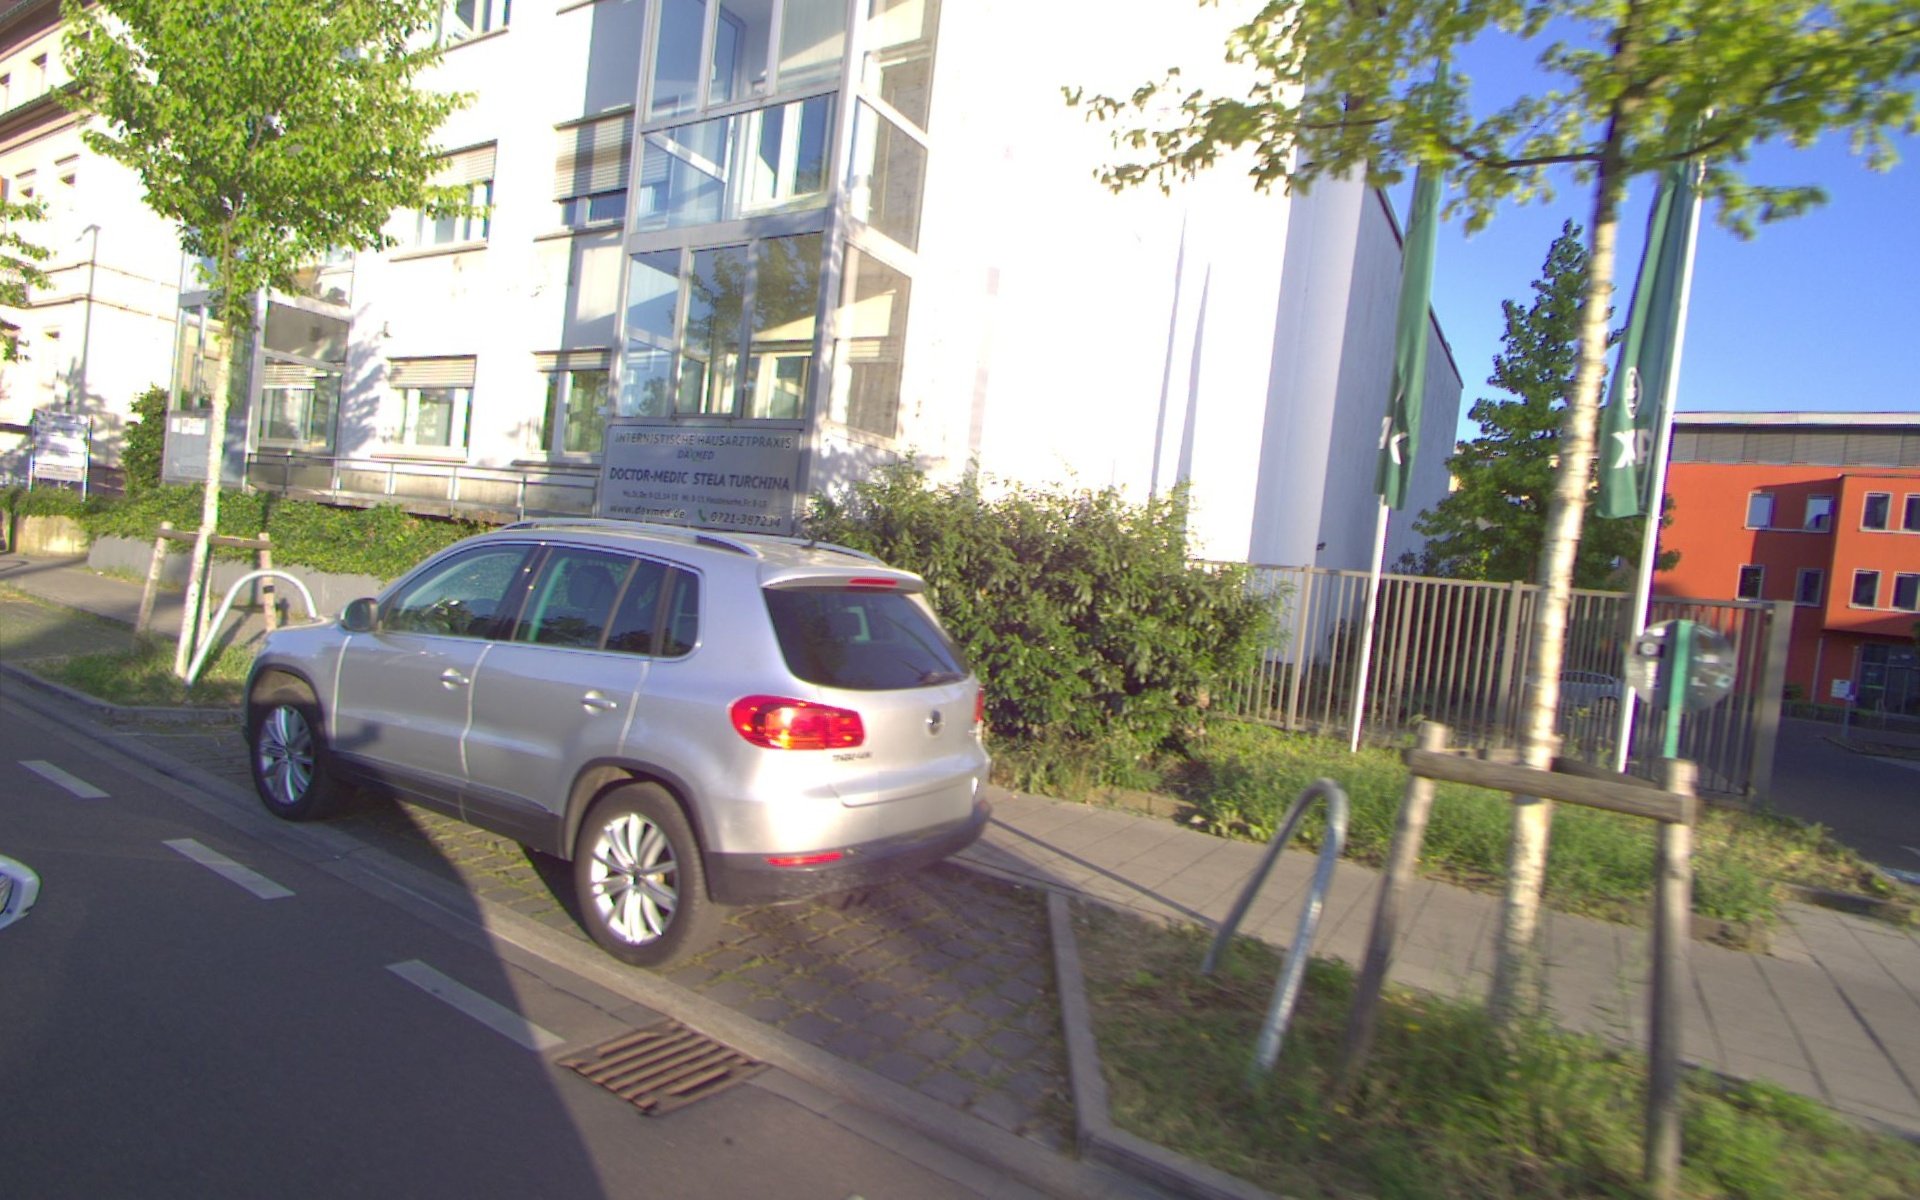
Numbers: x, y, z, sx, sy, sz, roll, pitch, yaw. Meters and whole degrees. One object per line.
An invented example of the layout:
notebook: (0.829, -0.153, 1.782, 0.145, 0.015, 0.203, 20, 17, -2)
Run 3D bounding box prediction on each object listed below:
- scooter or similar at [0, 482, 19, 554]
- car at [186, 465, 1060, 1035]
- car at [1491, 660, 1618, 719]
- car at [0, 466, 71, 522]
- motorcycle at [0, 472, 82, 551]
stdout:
scooter or similar: (-17.914, -1.559, 18.470, 1.187, 1.274, 0.491, 7, 0, 28)
car: (-1.859, 0.422, 5.204, 4.182, 1.728, 1.857, 7, 1, 30)
car: (23.528, 3.489, 39.888, 4.061, 1.685, 1.819, 7, 2, 33)
car: (-30.622, -3.413, 31.250, 1.886, 1.593, 4.190, 7, 4, 34)
motorcycle: (-18.590, -1.765, 20.037, 0.615, 1.432, 1.497, 9, 3, 28)
